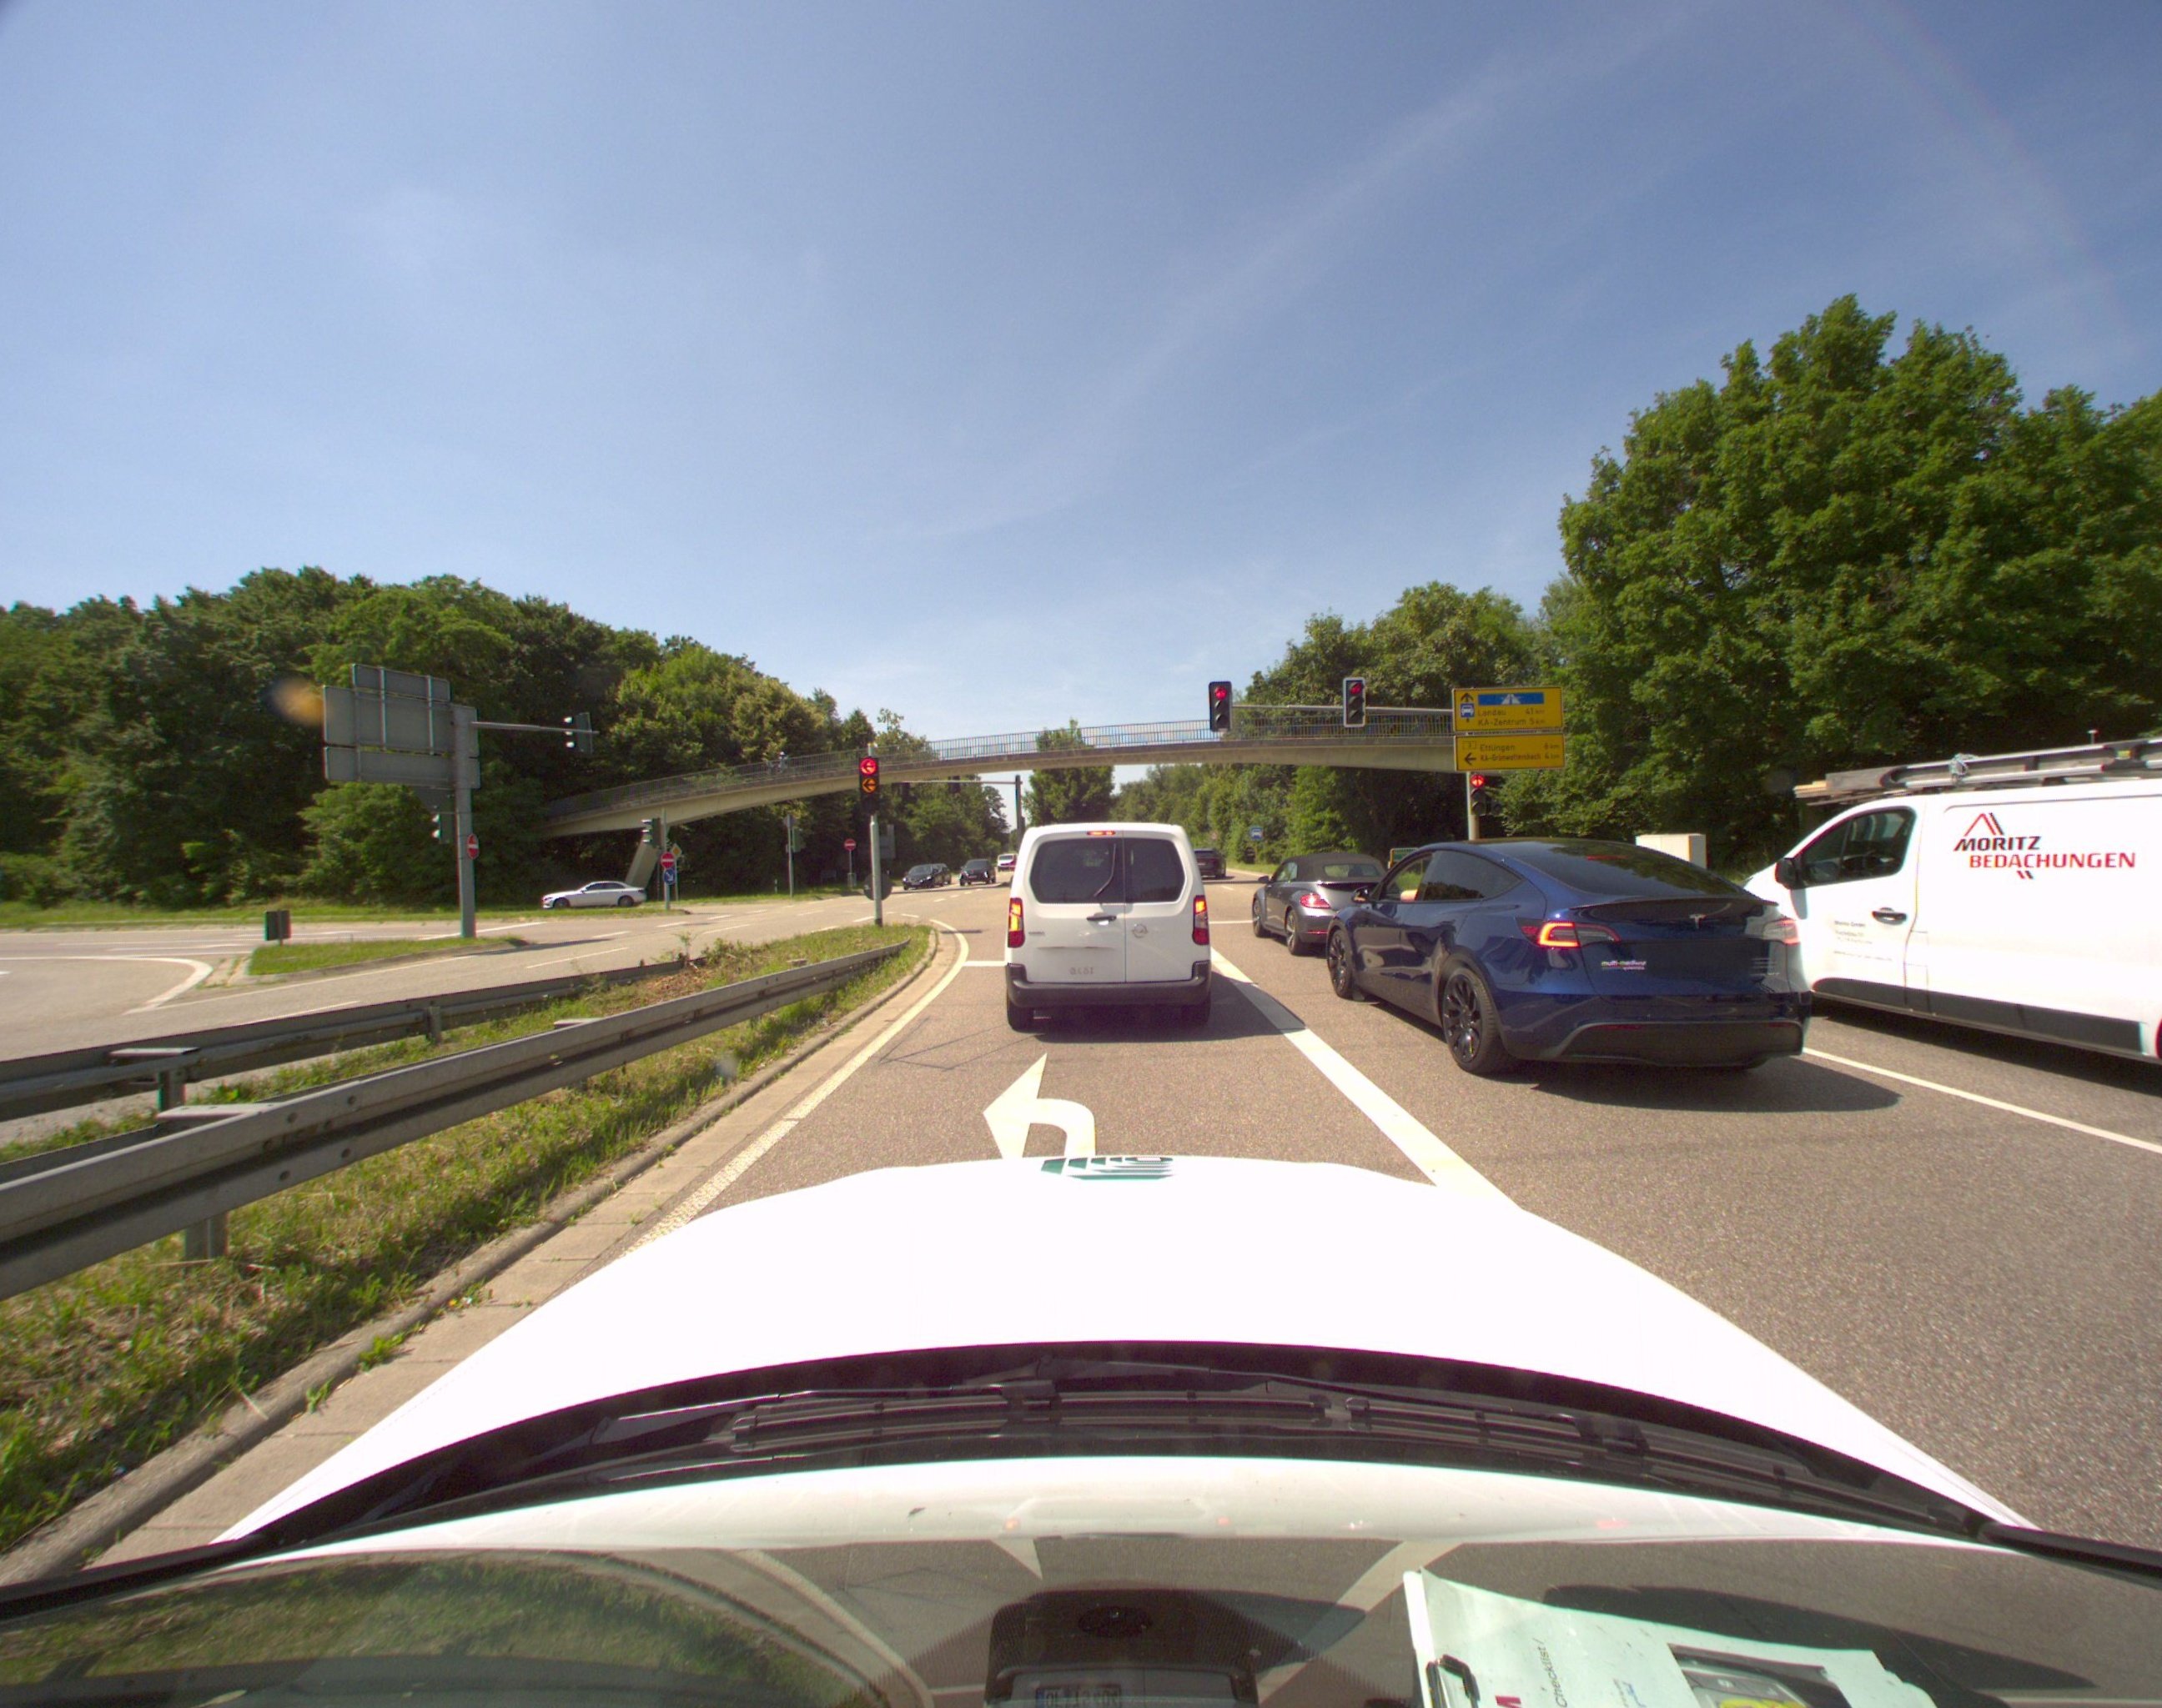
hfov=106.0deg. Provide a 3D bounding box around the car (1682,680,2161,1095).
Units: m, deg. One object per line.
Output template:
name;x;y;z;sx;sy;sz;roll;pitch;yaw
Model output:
car;7.104;0.183;5.834;1.925;2.349;5.076;-1;0;1

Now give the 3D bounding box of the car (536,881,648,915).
car;-25.328;2.239;42.271;4.803;1.373;1.978;-3;0;-36

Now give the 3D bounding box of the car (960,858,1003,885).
car;-6.029;1.019;49.596;1.986;1.523;4.029;-1;0;2

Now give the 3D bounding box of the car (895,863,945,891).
car;-9.681;1.339;49.266;2.001;1.460;4.057;-3;0;2

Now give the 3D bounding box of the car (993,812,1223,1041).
car;0.254;0.560;8.564;1.843;1.825;3.982;-1;1;1

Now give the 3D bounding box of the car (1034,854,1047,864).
car;-8.360;1.067;167.789;2.200;1.993;4.735;-3;0;2

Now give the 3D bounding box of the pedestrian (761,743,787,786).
pedestrian;-16.358;-4.747;43.443;0.776;2.139;0.936;-4;-2;17

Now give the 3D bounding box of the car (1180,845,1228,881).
car;6.671;0.435;43.782;2.028;1.699;5.104;-4;0;13

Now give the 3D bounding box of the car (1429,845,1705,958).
car;7.385;0.624;12.992;1.893;1.478;4.382;-1;0;2

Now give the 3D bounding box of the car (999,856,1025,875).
car;-7.940;1.294;93.995;2.200;1.993;5.490;-3;0;2

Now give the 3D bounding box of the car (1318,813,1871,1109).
car;3.526;0.596;6.822;1.893;1.644;4.522;-1;0;2

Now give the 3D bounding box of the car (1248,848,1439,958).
car;3.960;0.663;13.018;1.893;1.478;3.940;-1;0;2

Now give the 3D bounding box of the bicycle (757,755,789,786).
bicycle;-16.324;-4.431;43.165;1.514;1.474;0.472;-4;-2;17
